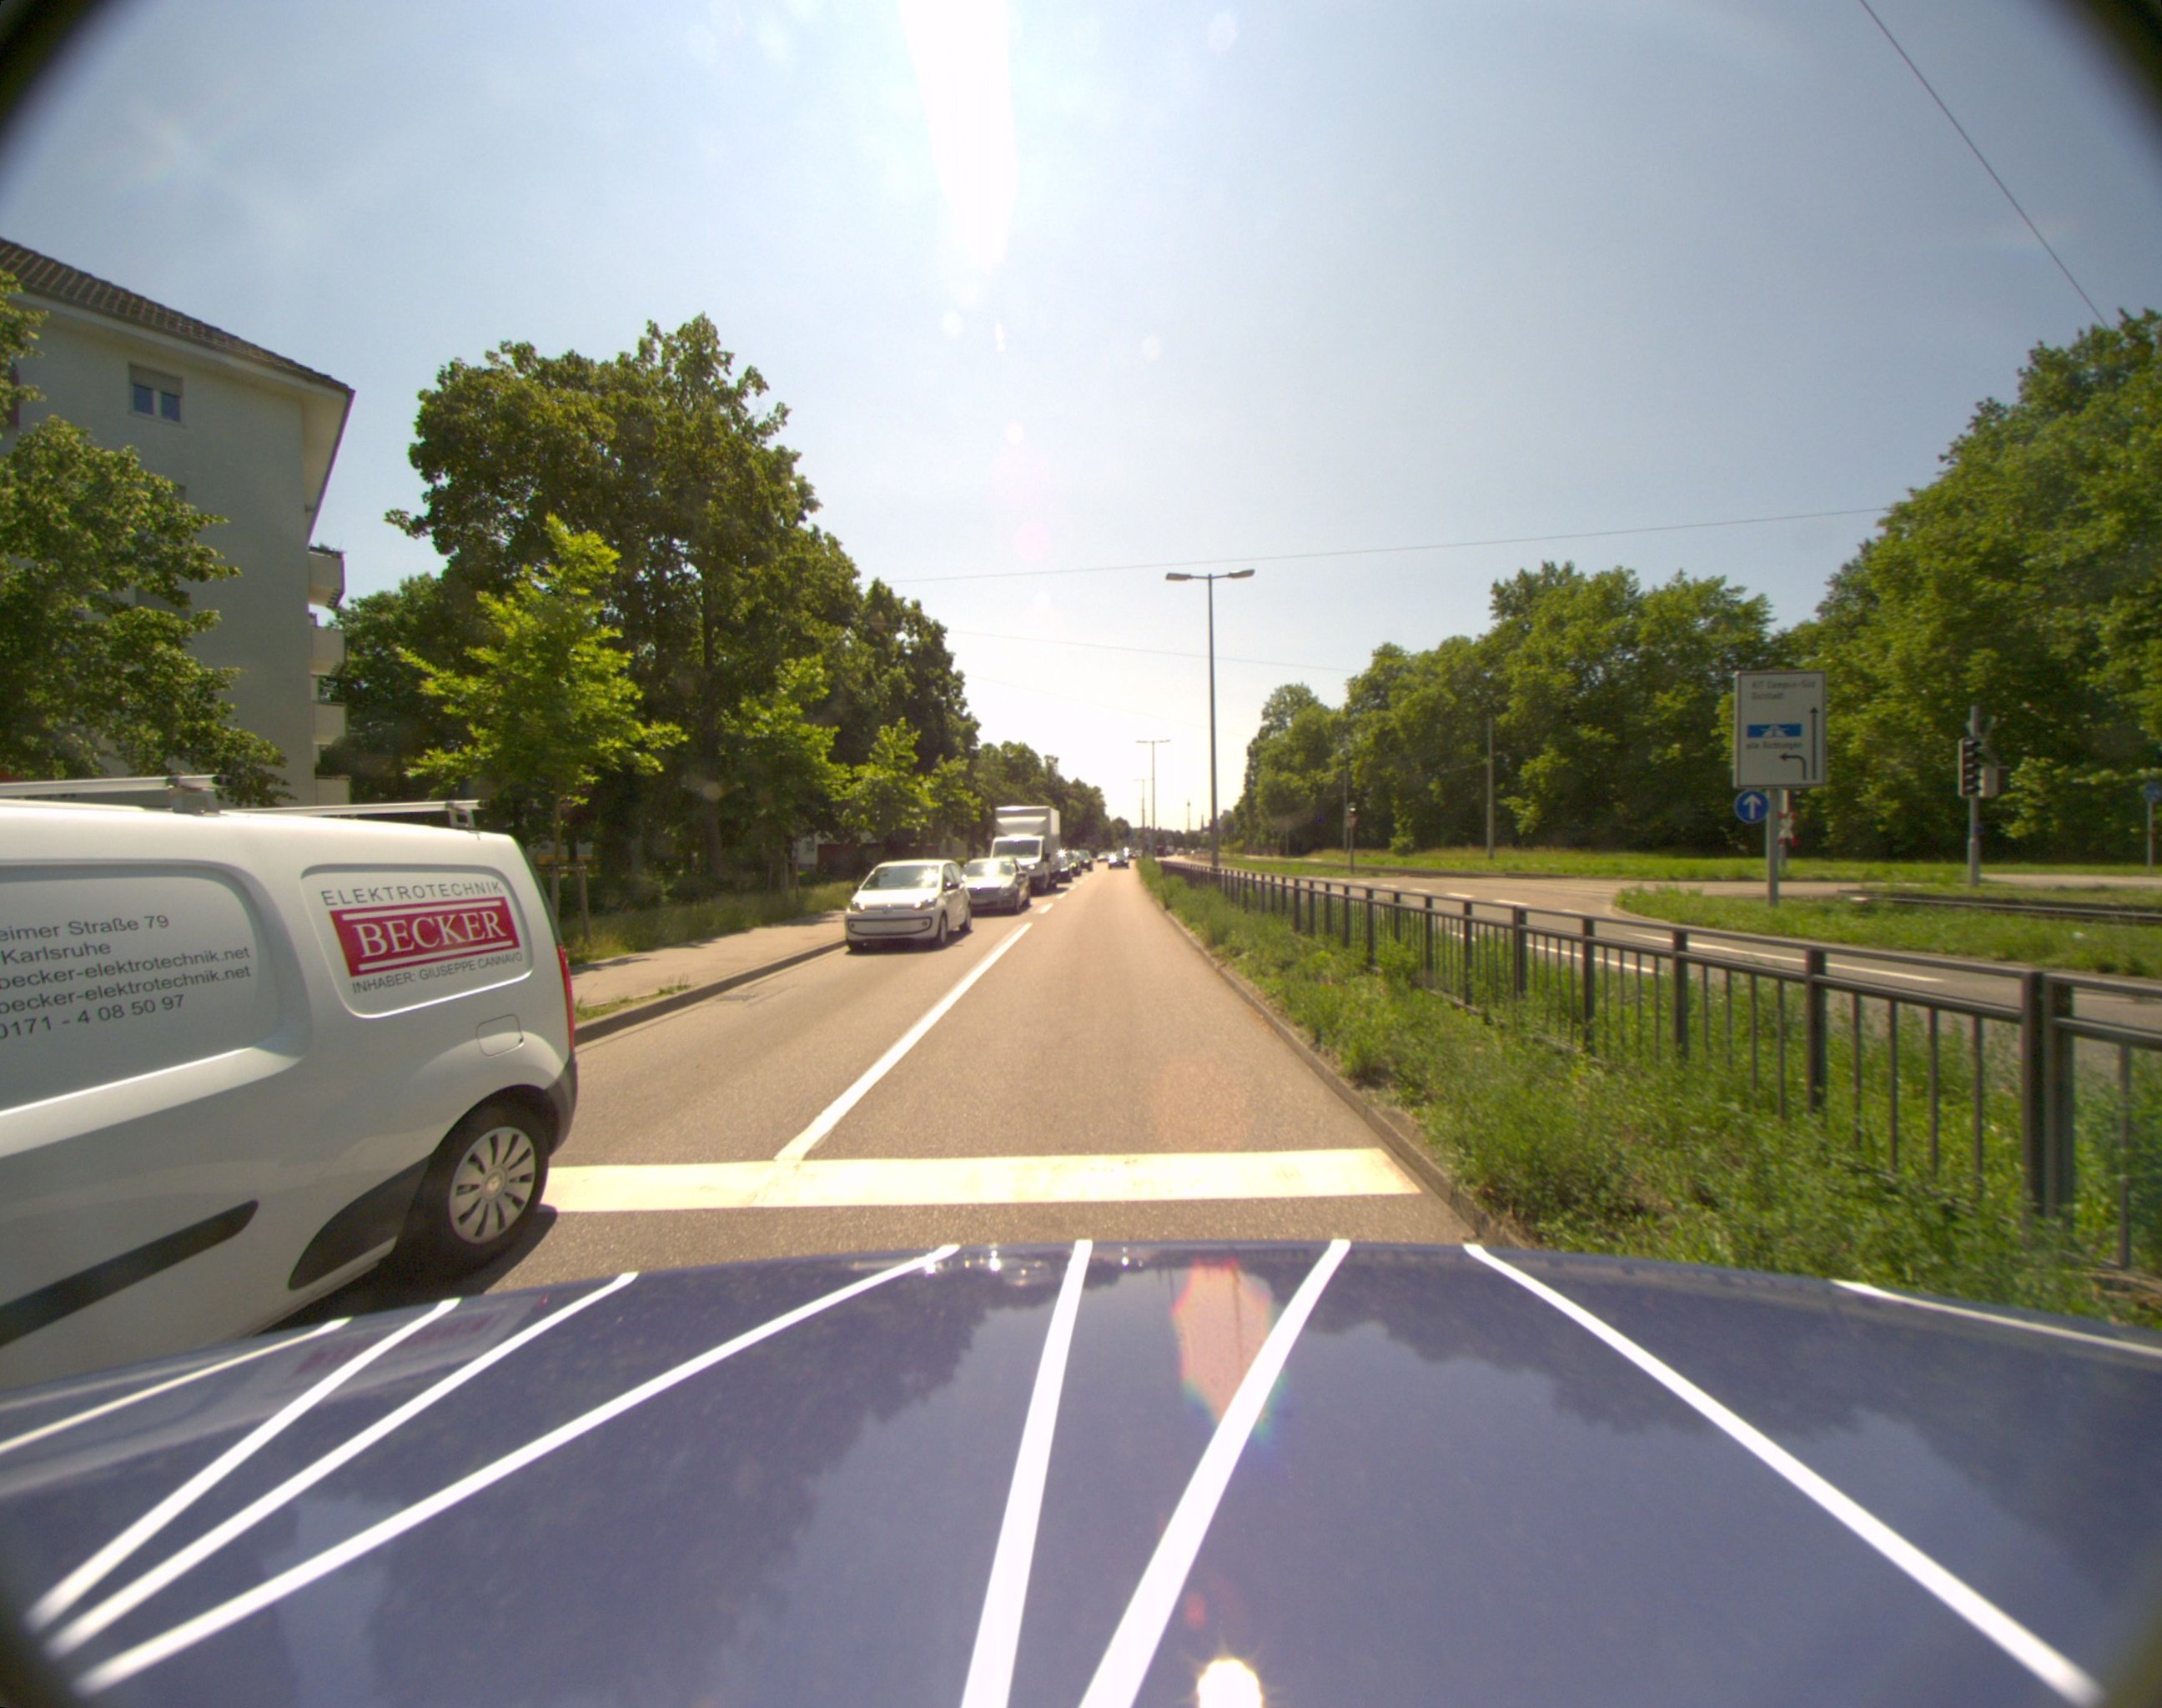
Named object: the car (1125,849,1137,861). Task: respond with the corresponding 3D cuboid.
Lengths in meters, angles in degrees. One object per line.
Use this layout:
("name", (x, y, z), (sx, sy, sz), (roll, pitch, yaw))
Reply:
("car", (8.203, 0.119, 124.300), (1.746, 1.840, 3.887), (-1, 1, 2))

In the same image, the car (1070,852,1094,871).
("car", (0.112, 0.548, 59.503), (1.746, 1.382, 3.887), (-1, 1, 2))

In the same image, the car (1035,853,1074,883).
("car", (-1.291, 0.704, 39.048), (1.746, 1.382, 3.887), (-1, 1, 2))

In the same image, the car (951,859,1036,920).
("car", (-2.253, 0.878, 20.480), (1.618, 1.373, 4.114), (-2, 1, 2))

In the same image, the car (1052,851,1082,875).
("car", (-0.874, 0.564, 49.280), (1.618, 1.373, 4.114), (-2, 1, 2))

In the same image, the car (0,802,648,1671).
("car", (-3.232, 0.846, 1.410), (1.809, 1.845, 5.082), (-2, 1, 1))

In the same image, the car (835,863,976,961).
("car", (-3.053, 0.947, 13.922), (1.626, 1.433, 3.498), (-2, 1, 1))

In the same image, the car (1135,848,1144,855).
("car", (11.928, -0.567, 155.204), (1.745, 1.382, 3.889), (-1, 1, 7))

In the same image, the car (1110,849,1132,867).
("car", (3.420, 0.320, 65.566), (1.746, 1.382, 3.887), (-1, 1, 2))

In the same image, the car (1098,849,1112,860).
("car", (3.426, 0.051, 107.941), (1.745, 1.382, 3.888), (-1, 1, 4))

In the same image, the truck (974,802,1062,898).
("truck", (-2.263, -0.170, 29.524), (2.489, 3.277, 6.605), (-1, 1, 3))
